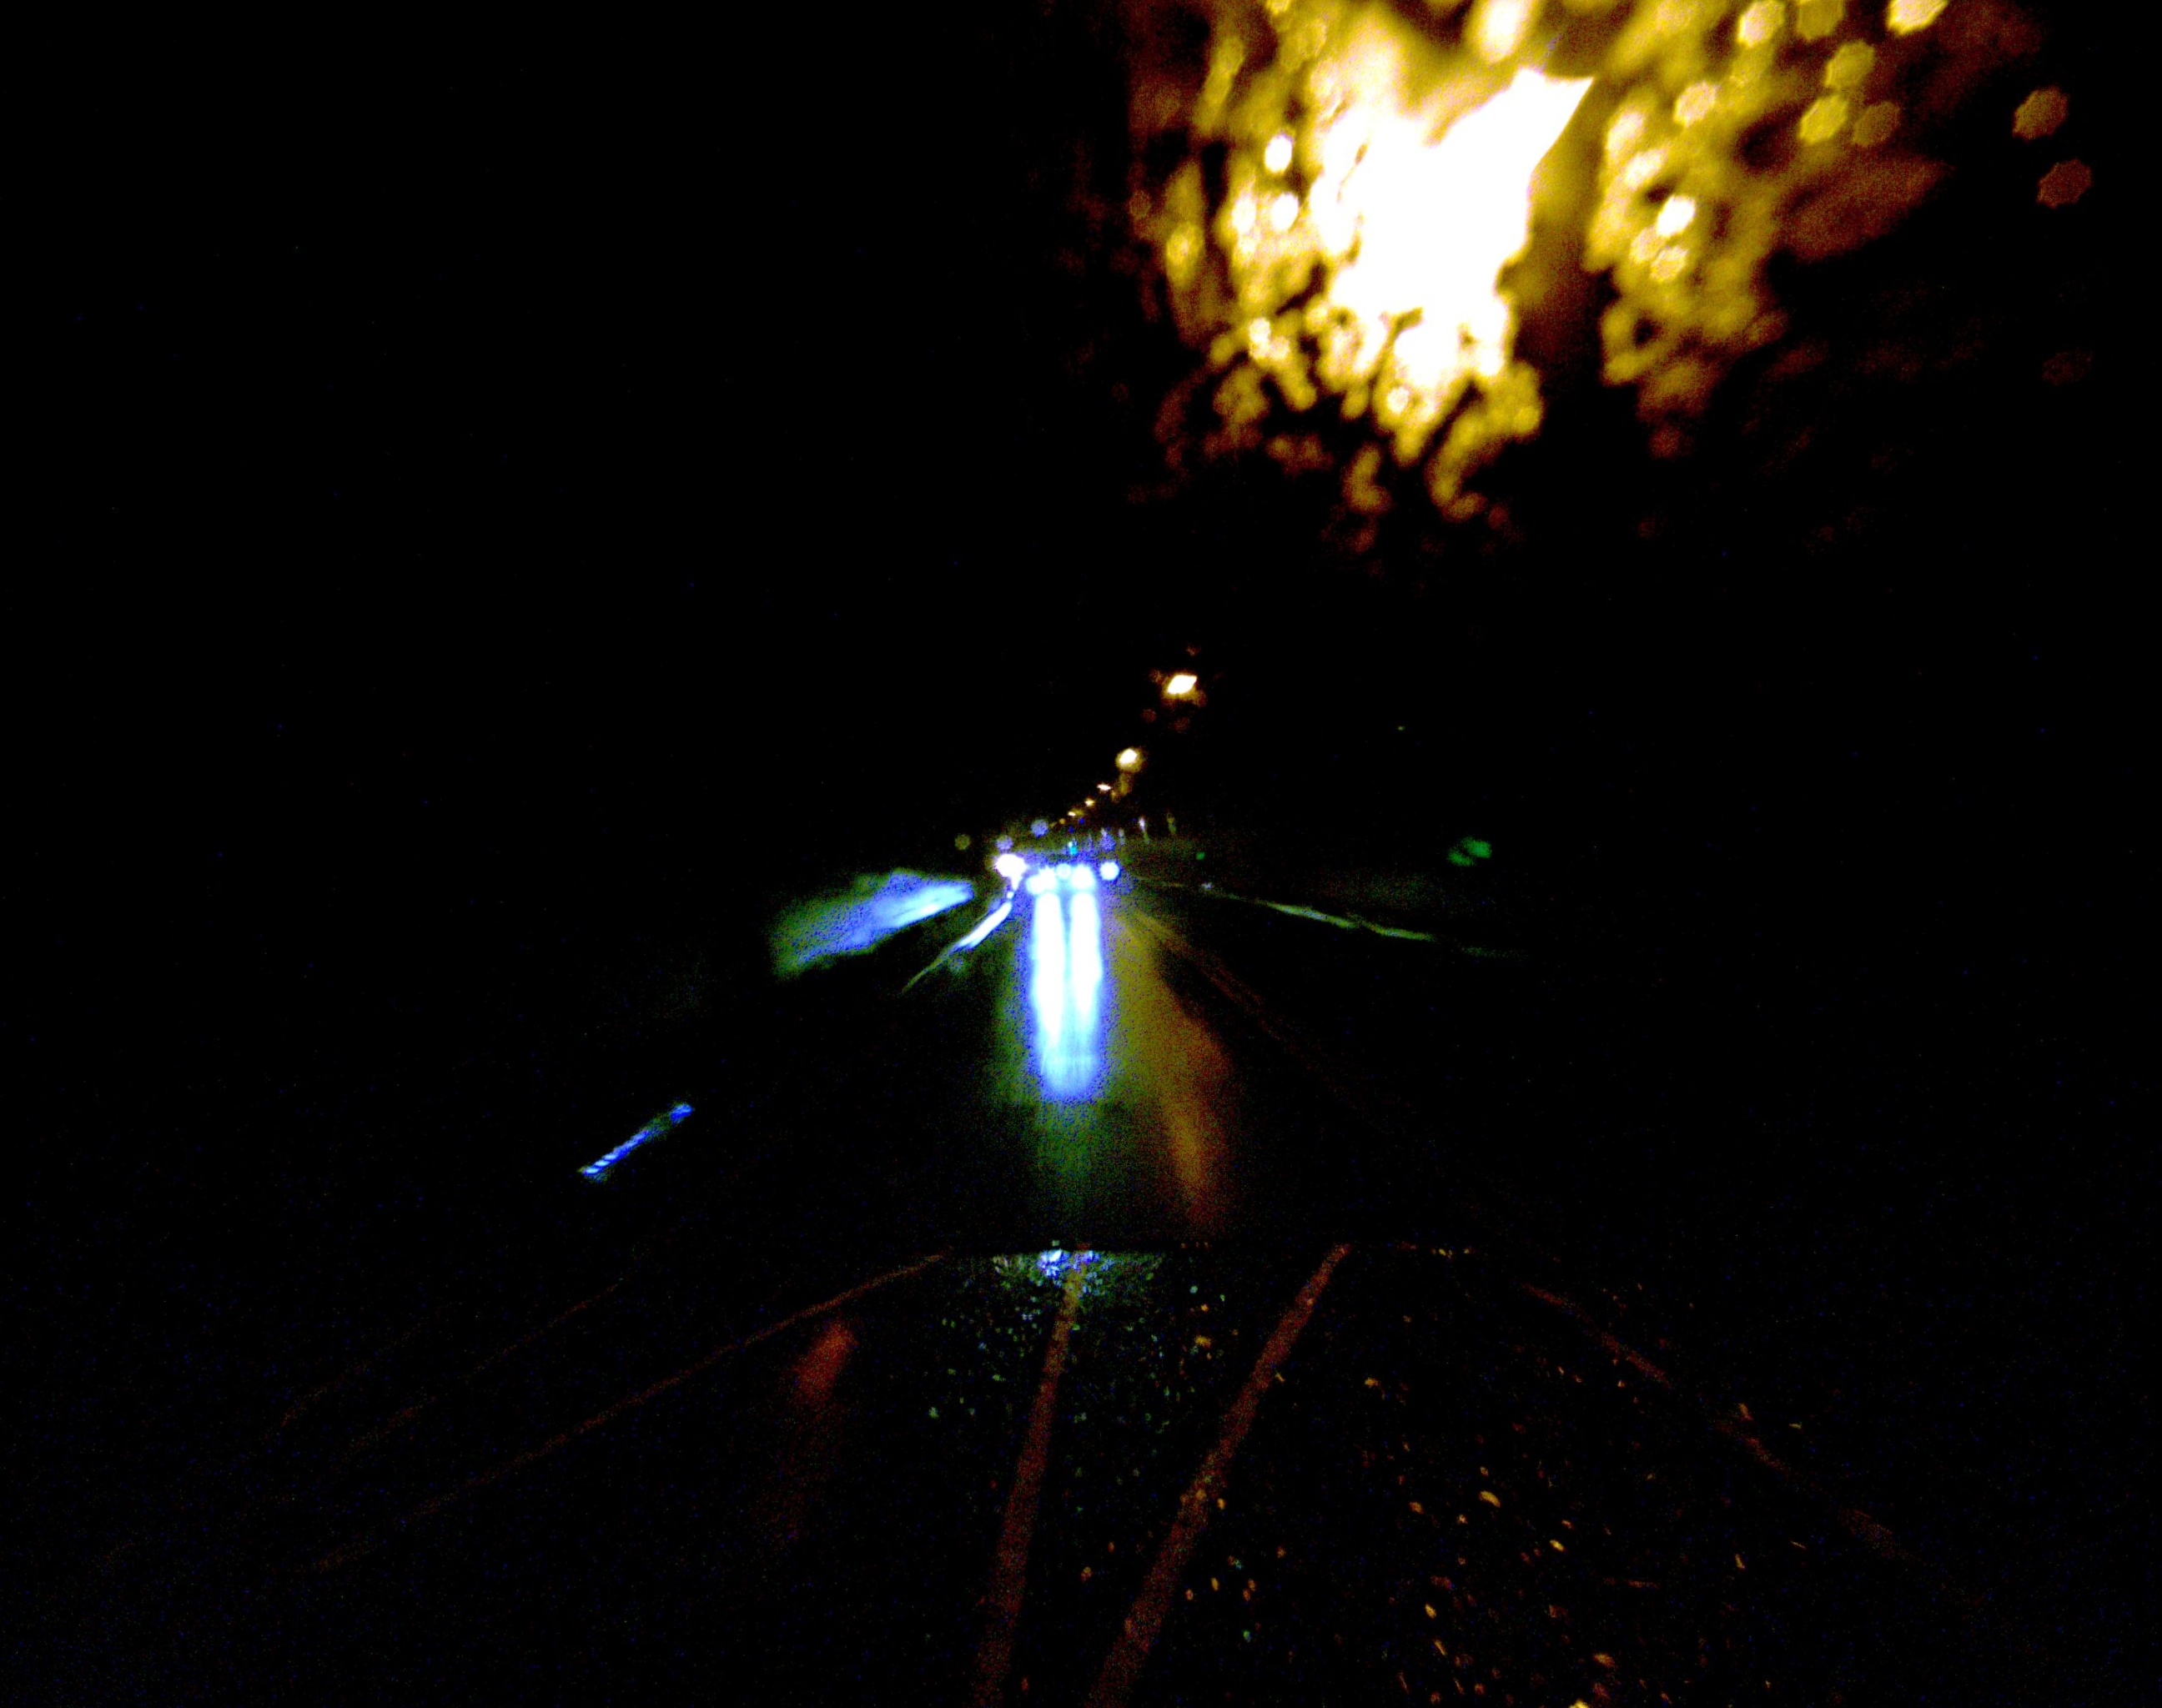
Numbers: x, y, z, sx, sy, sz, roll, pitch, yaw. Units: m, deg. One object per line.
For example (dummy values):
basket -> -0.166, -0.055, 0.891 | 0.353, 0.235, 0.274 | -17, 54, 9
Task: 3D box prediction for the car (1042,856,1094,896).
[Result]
car -> -0.633, 0.917, 33.571 | 1.999, 1.547, 3.998 | -2, 1, -5
